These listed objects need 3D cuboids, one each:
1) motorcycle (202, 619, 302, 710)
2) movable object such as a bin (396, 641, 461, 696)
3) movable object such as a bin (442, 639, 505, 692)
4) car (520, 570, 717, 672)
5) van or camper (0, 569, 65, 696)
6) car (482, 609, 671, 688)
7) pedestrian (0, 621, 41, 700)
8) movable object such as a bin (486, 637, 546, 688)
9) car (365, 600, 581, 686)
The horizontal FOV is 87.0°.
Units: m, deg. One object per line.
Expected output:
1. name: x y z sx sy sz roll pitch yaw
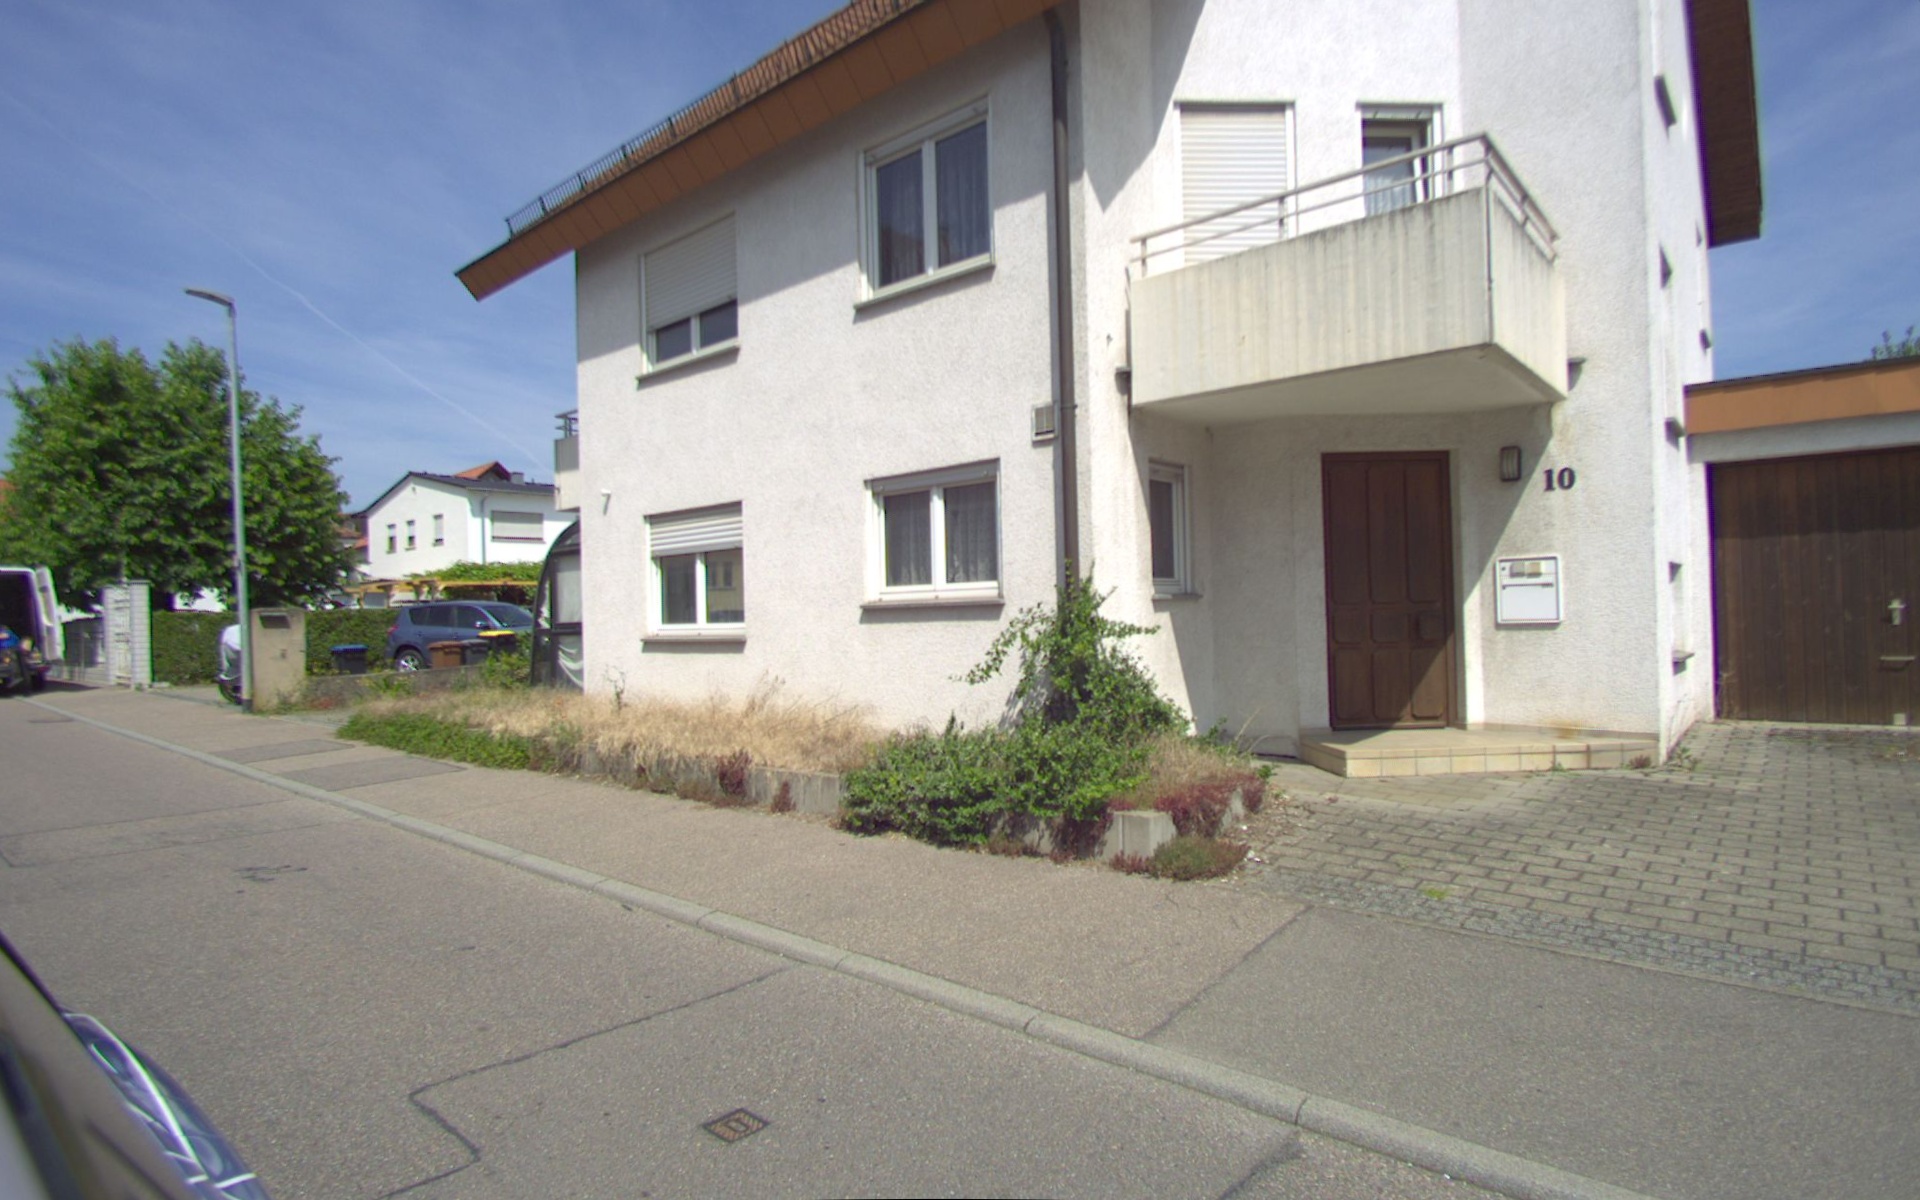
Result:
1. motorcycle: -11.785 1.038 16.821 2.351 1.403 0.775 -2 -1 40
2. movable object such as a bin: -9.464 1.200 18.020 0.773 0.912 0.792 -2 -1 40
3. movable object such as a bin: -8.962 1.198 18.646 0.773 0.912 0.792 -2 -1 40
4. car: -9.146 0.526 27.463 1.964 2.511 4.755 -2 -1 39
5. van or camper: -22.356 0.753 22.836 6.800 2.591 2.163 -2 0 40
6. car: -8.895 1.095 23.458 4.082 1.691 1.720 -1 -1 24
7. pedestrian: -19.221 1.222 20.619 0.725 1.529 0.567 -2 2 39
8. movable object such as a bin: -8.464 1.184 19.286 0.773 0.912 0.792 -2 -1 40
9. car: -10.209 0.898 21.273 3.903 1.691 1.765 -1 -1 16
